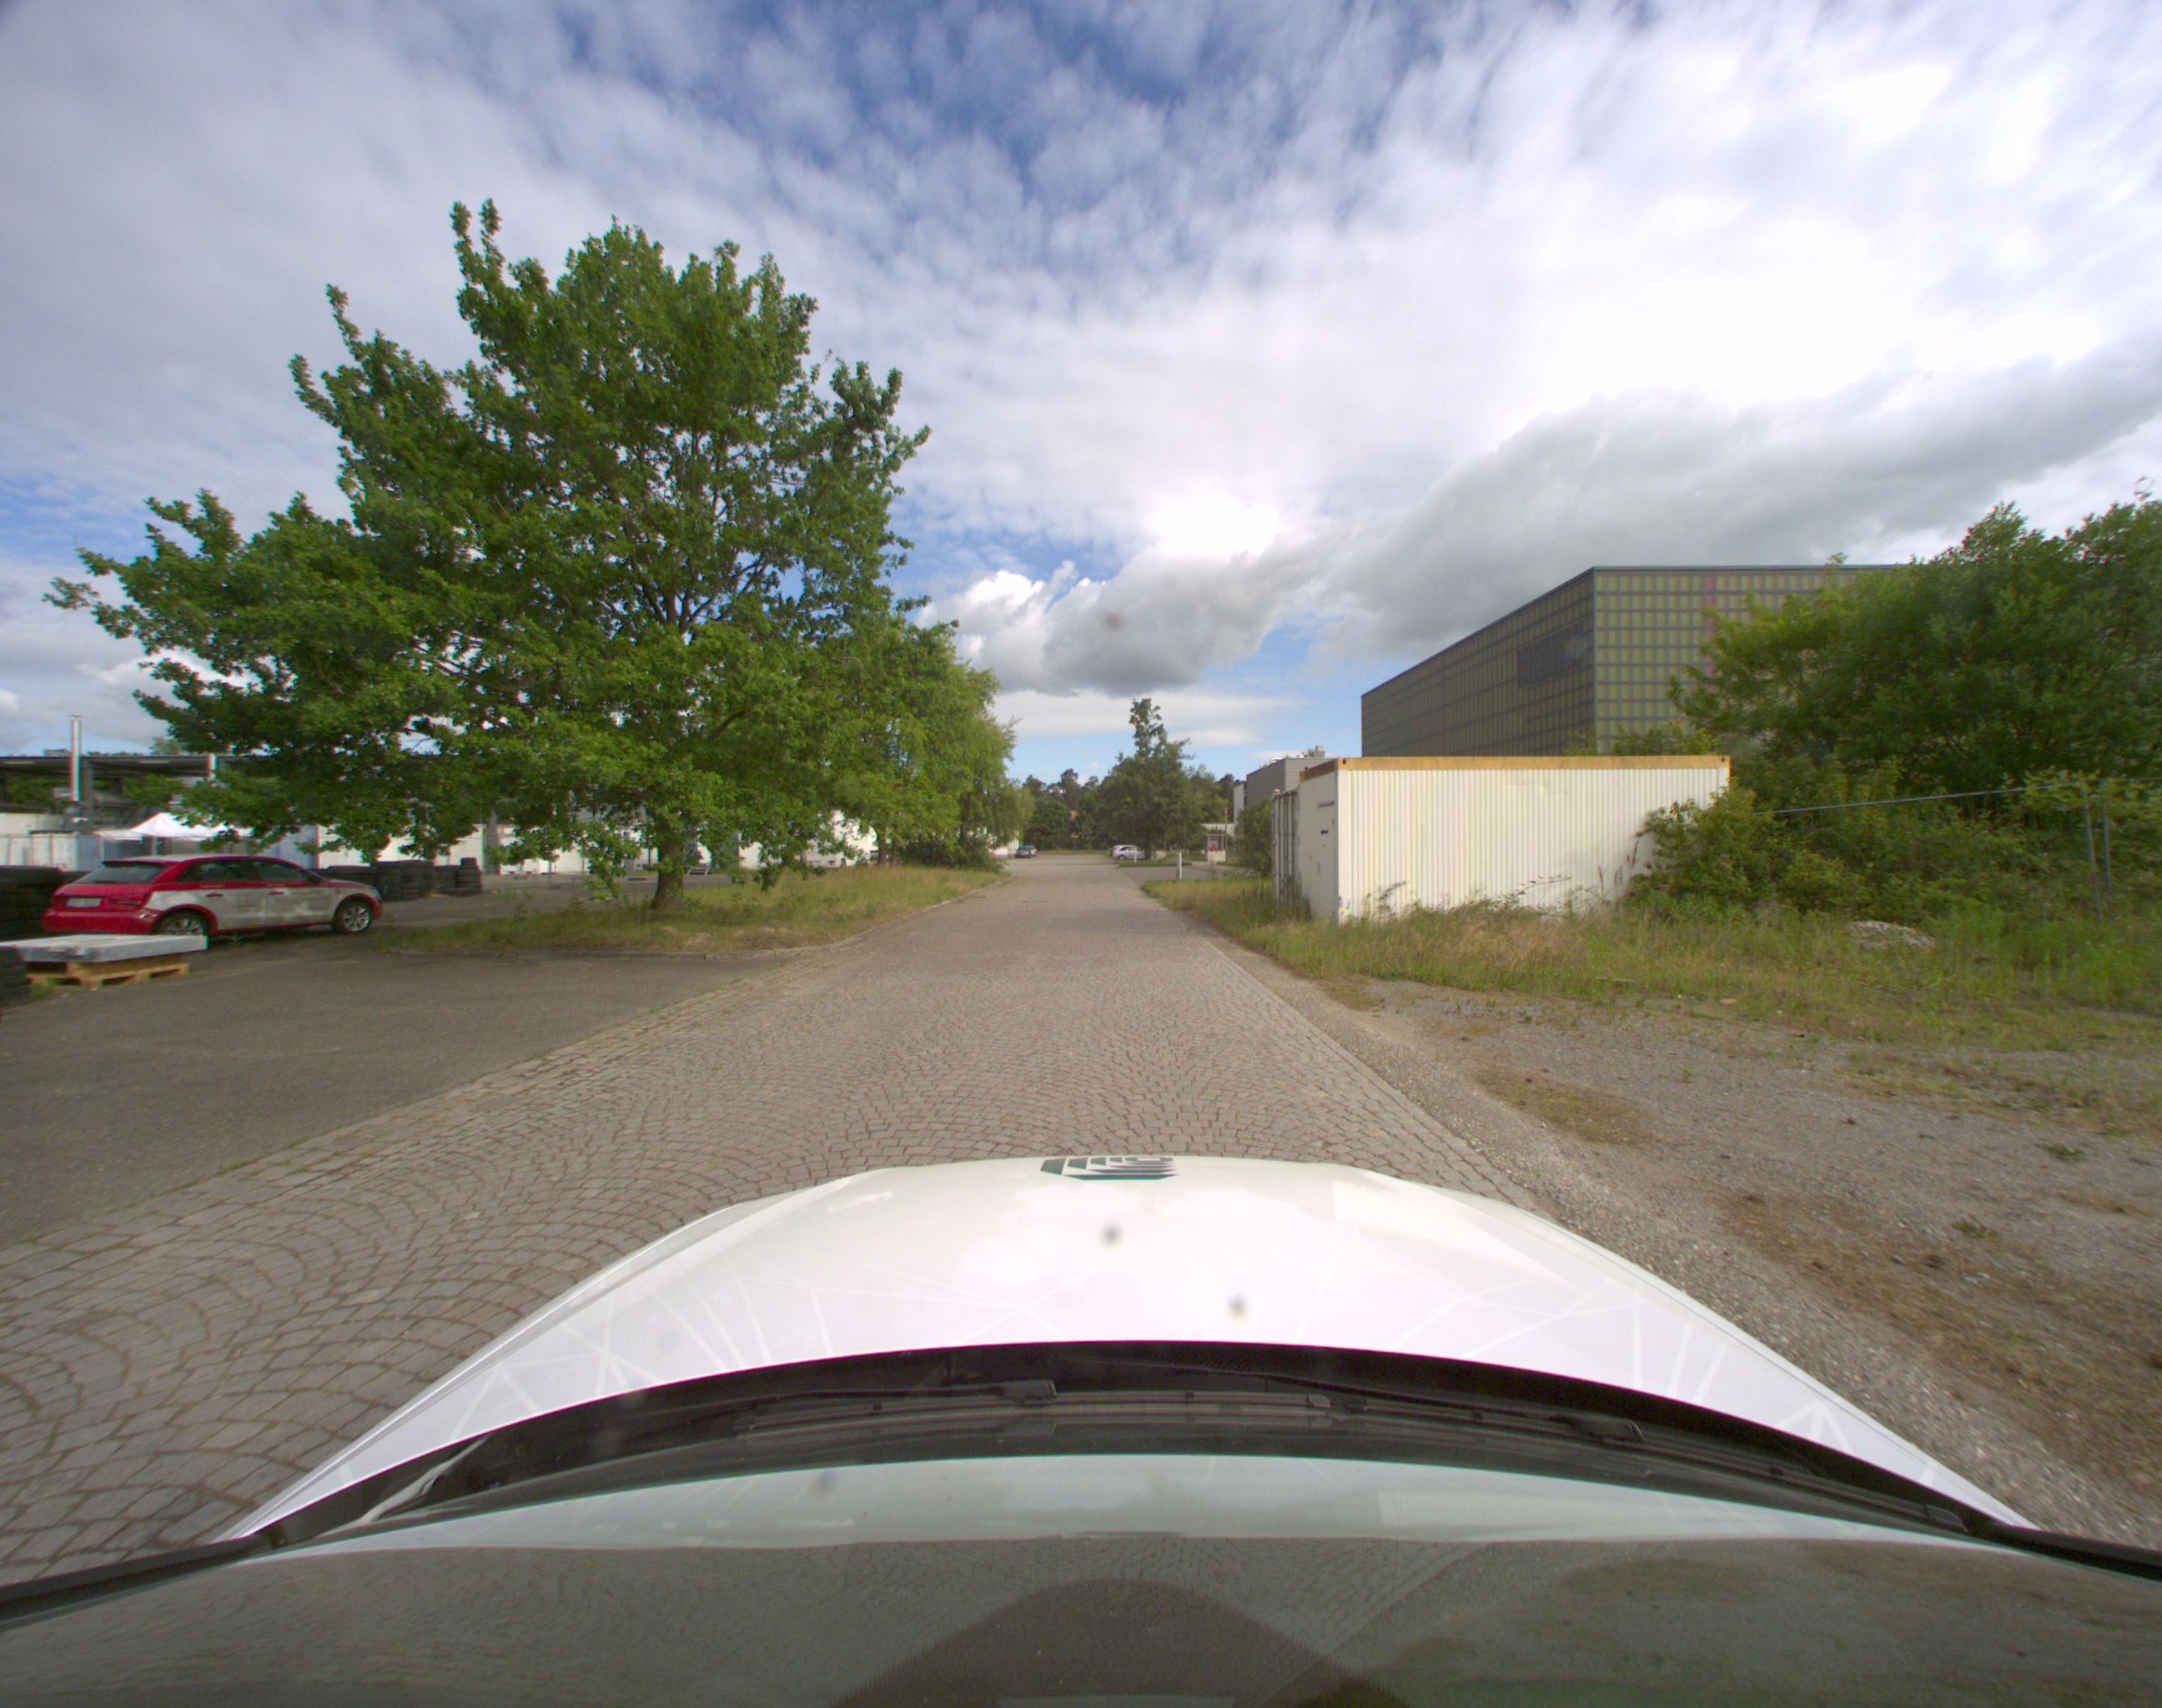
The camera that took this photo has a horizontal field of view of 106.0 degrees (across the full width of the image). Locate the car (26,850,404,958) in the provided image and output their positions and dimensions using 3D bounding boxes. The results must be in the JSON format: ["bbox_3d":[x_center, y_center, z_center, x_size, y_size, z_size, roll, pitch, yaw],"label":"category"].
[{"bbox_3d":[-13.808,0.698,13.407,1.617,1.433,4.071,0,1,6],"label":"car"}]

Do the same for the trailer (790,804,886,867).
[{"bbox_3d":[-15.096,-1.125,51.611,2.615,3.597,10.185,0,1,3],"label":"trailer"}]

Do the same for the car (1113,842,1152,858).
[{"bbox_3d":[5.338,-0.445,84.450,3.971,1.448,1.653,-2,0,0],"label":"car"}]

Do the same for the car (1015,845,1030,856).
[{"bbox_3d":[-7.406,-0.447,103.275,1.642,1.369,3.998,0,1,0],"label":"car"}]

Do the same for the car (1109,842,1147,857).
[{"bbox_3d":[5.143,-0.500,89.581,3.971,1.475,1.653,-2,0,0],"label":"car"}]

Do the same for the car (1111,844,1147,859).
[{"bbox_3d":[4.779,-0.286,81.755,3.510,1.362,1.623,-2,0,0],"label":"car"}]

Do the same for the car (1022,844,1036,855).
[{"bbox_3d":[-7.214,-0.635,113.617,1.642,1.458,3.998,0,1,0],"label":"car"}]
